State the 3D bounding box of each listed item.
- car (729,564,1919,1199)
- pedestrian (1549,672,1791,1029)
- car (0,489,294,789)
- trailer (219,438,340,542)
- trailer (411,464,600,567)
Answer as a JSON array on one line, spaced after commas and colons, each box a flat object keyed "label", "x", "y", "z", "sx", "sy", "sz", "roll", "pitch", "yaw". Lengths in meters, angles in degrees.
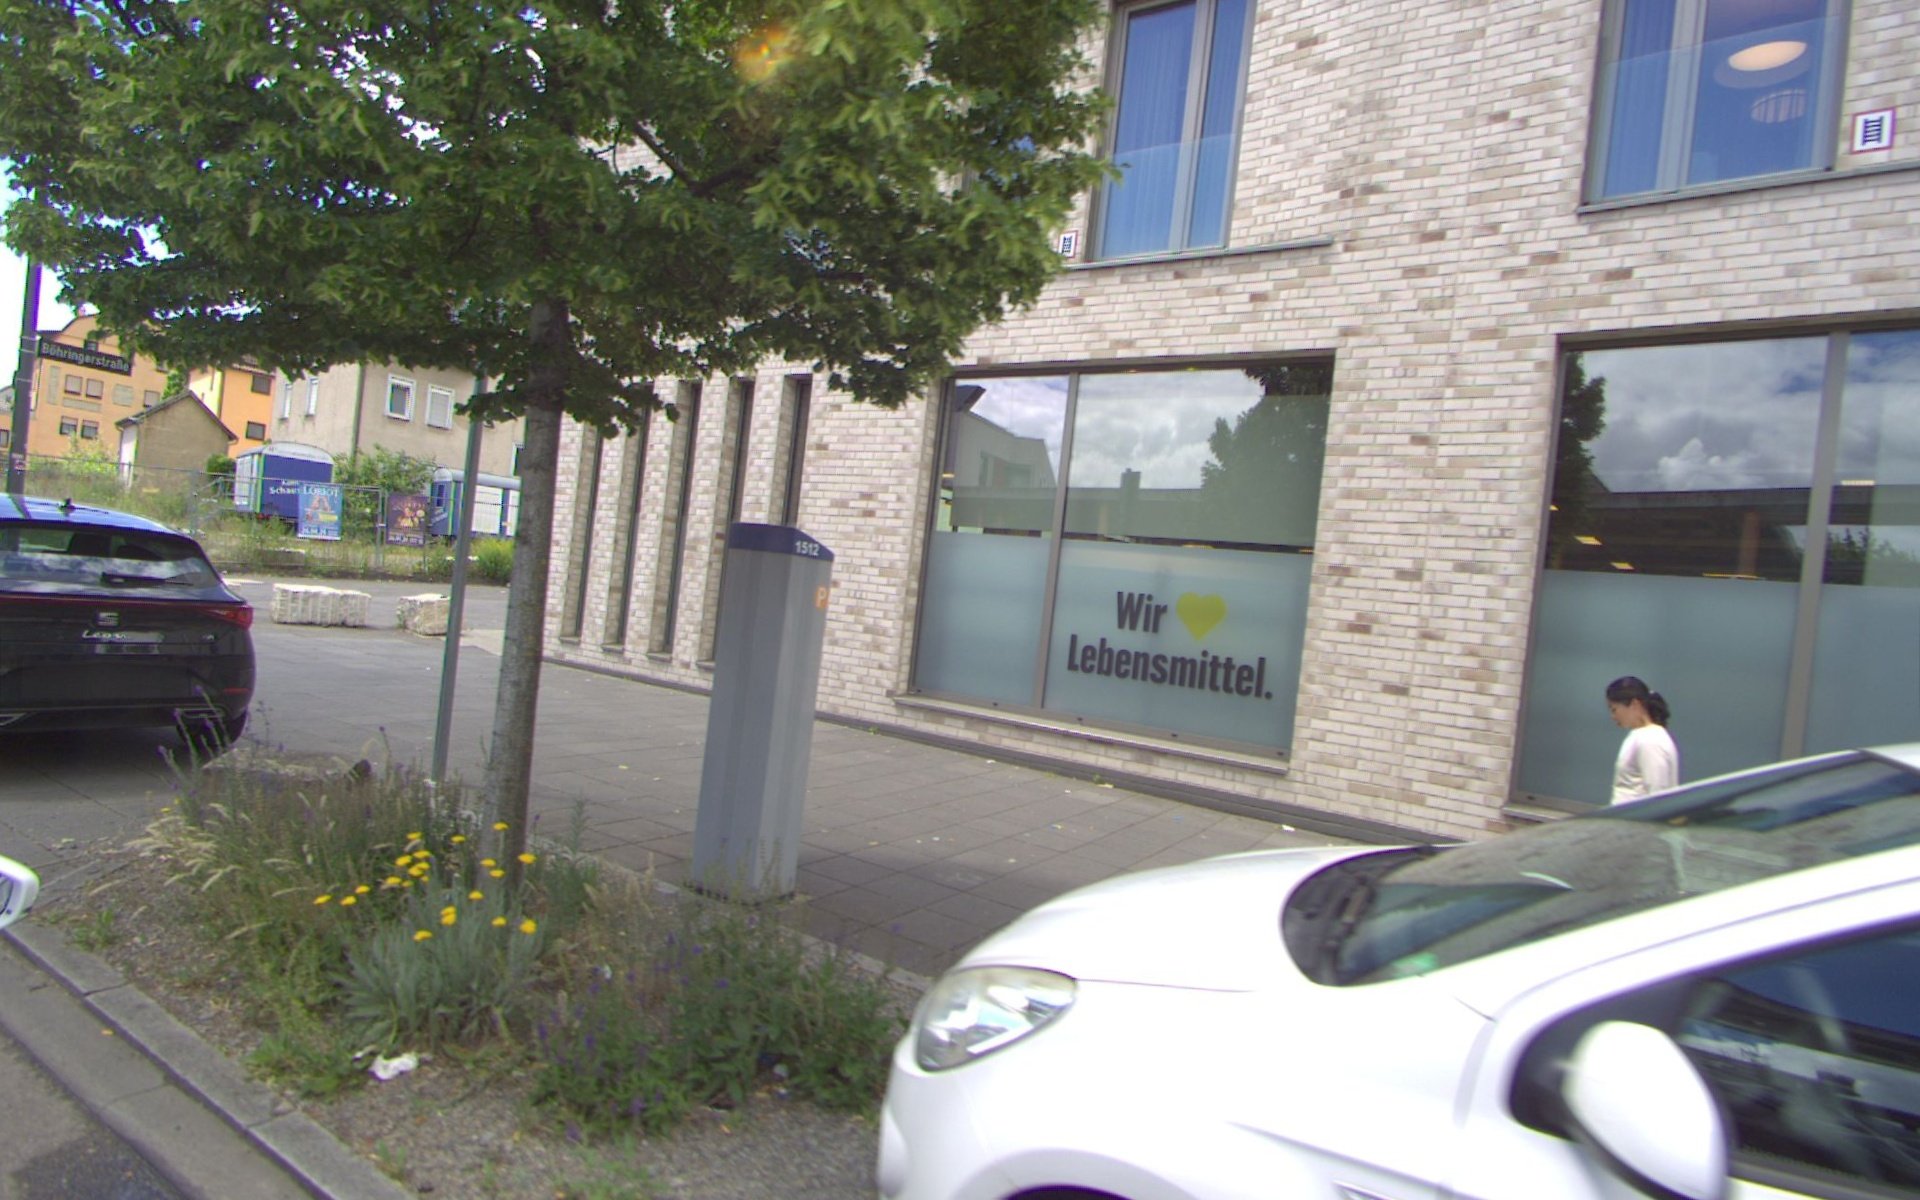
[{"label": "car", "x": 1.602, "y": 0.901, "z": 1.588, "sx": 3.737, "sy": 1.502, "sz": 1.693, "roll": 7, "pitch": 1, "yaw": 34}, {"label": "pedestrian", "x": 3.478, "y": 1.152, "z": 4.935, "sx": 0.779, "sy": 1.491, "sz": 0.606, "roll": 7, "pitch": 2, "yaw": 40}, {"label": "car", "x": -6.160, "y": 0.031, "z": 6.398, "sx": 4.080, "sy": 1.480, "sz": 1.693, "roll": 7, "pitch": 1, "yaw": 34}, {"label": "trailer", "x": -24.560, "y": -3.903, "z": 36.160, "sx": 2.396, "sy": 3.162, "sz": 6.082, "roll": 5, "pitch": 1, "yaw": -44}, {"label": "trailer", "x": -17.704, "y": -3.223, "z": 39.484, "sx": 2.379, "sy": 3.162, "sz": 6.128, "roll": 7, "pitch": 1, "yaw": 42}]
